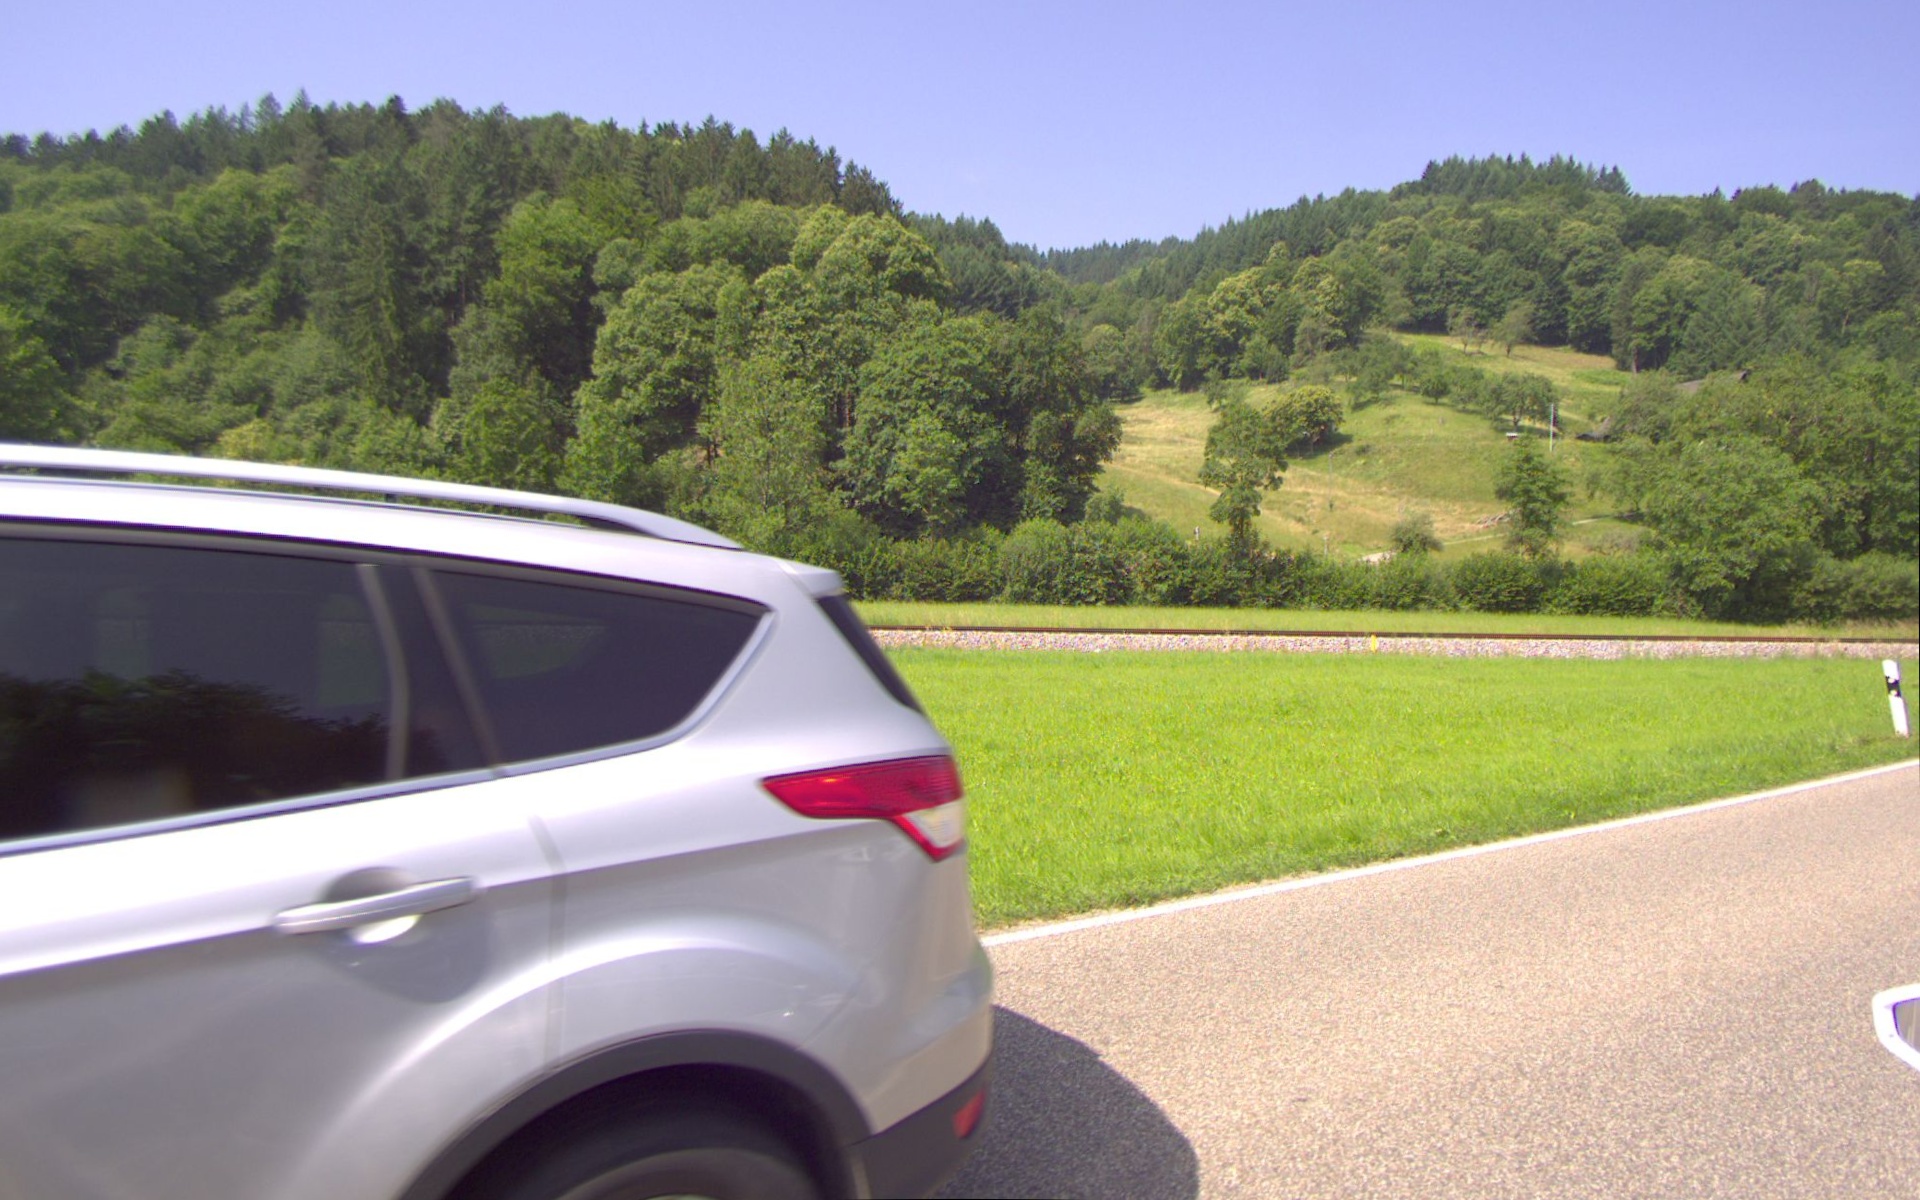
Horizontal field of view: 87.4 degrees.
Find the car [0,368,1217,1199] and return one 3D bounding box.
[{"bbox_3d":[-1.743,0.613,1.784,4.109,1.737,1.906,1,0,-30],"label":"car"}]
